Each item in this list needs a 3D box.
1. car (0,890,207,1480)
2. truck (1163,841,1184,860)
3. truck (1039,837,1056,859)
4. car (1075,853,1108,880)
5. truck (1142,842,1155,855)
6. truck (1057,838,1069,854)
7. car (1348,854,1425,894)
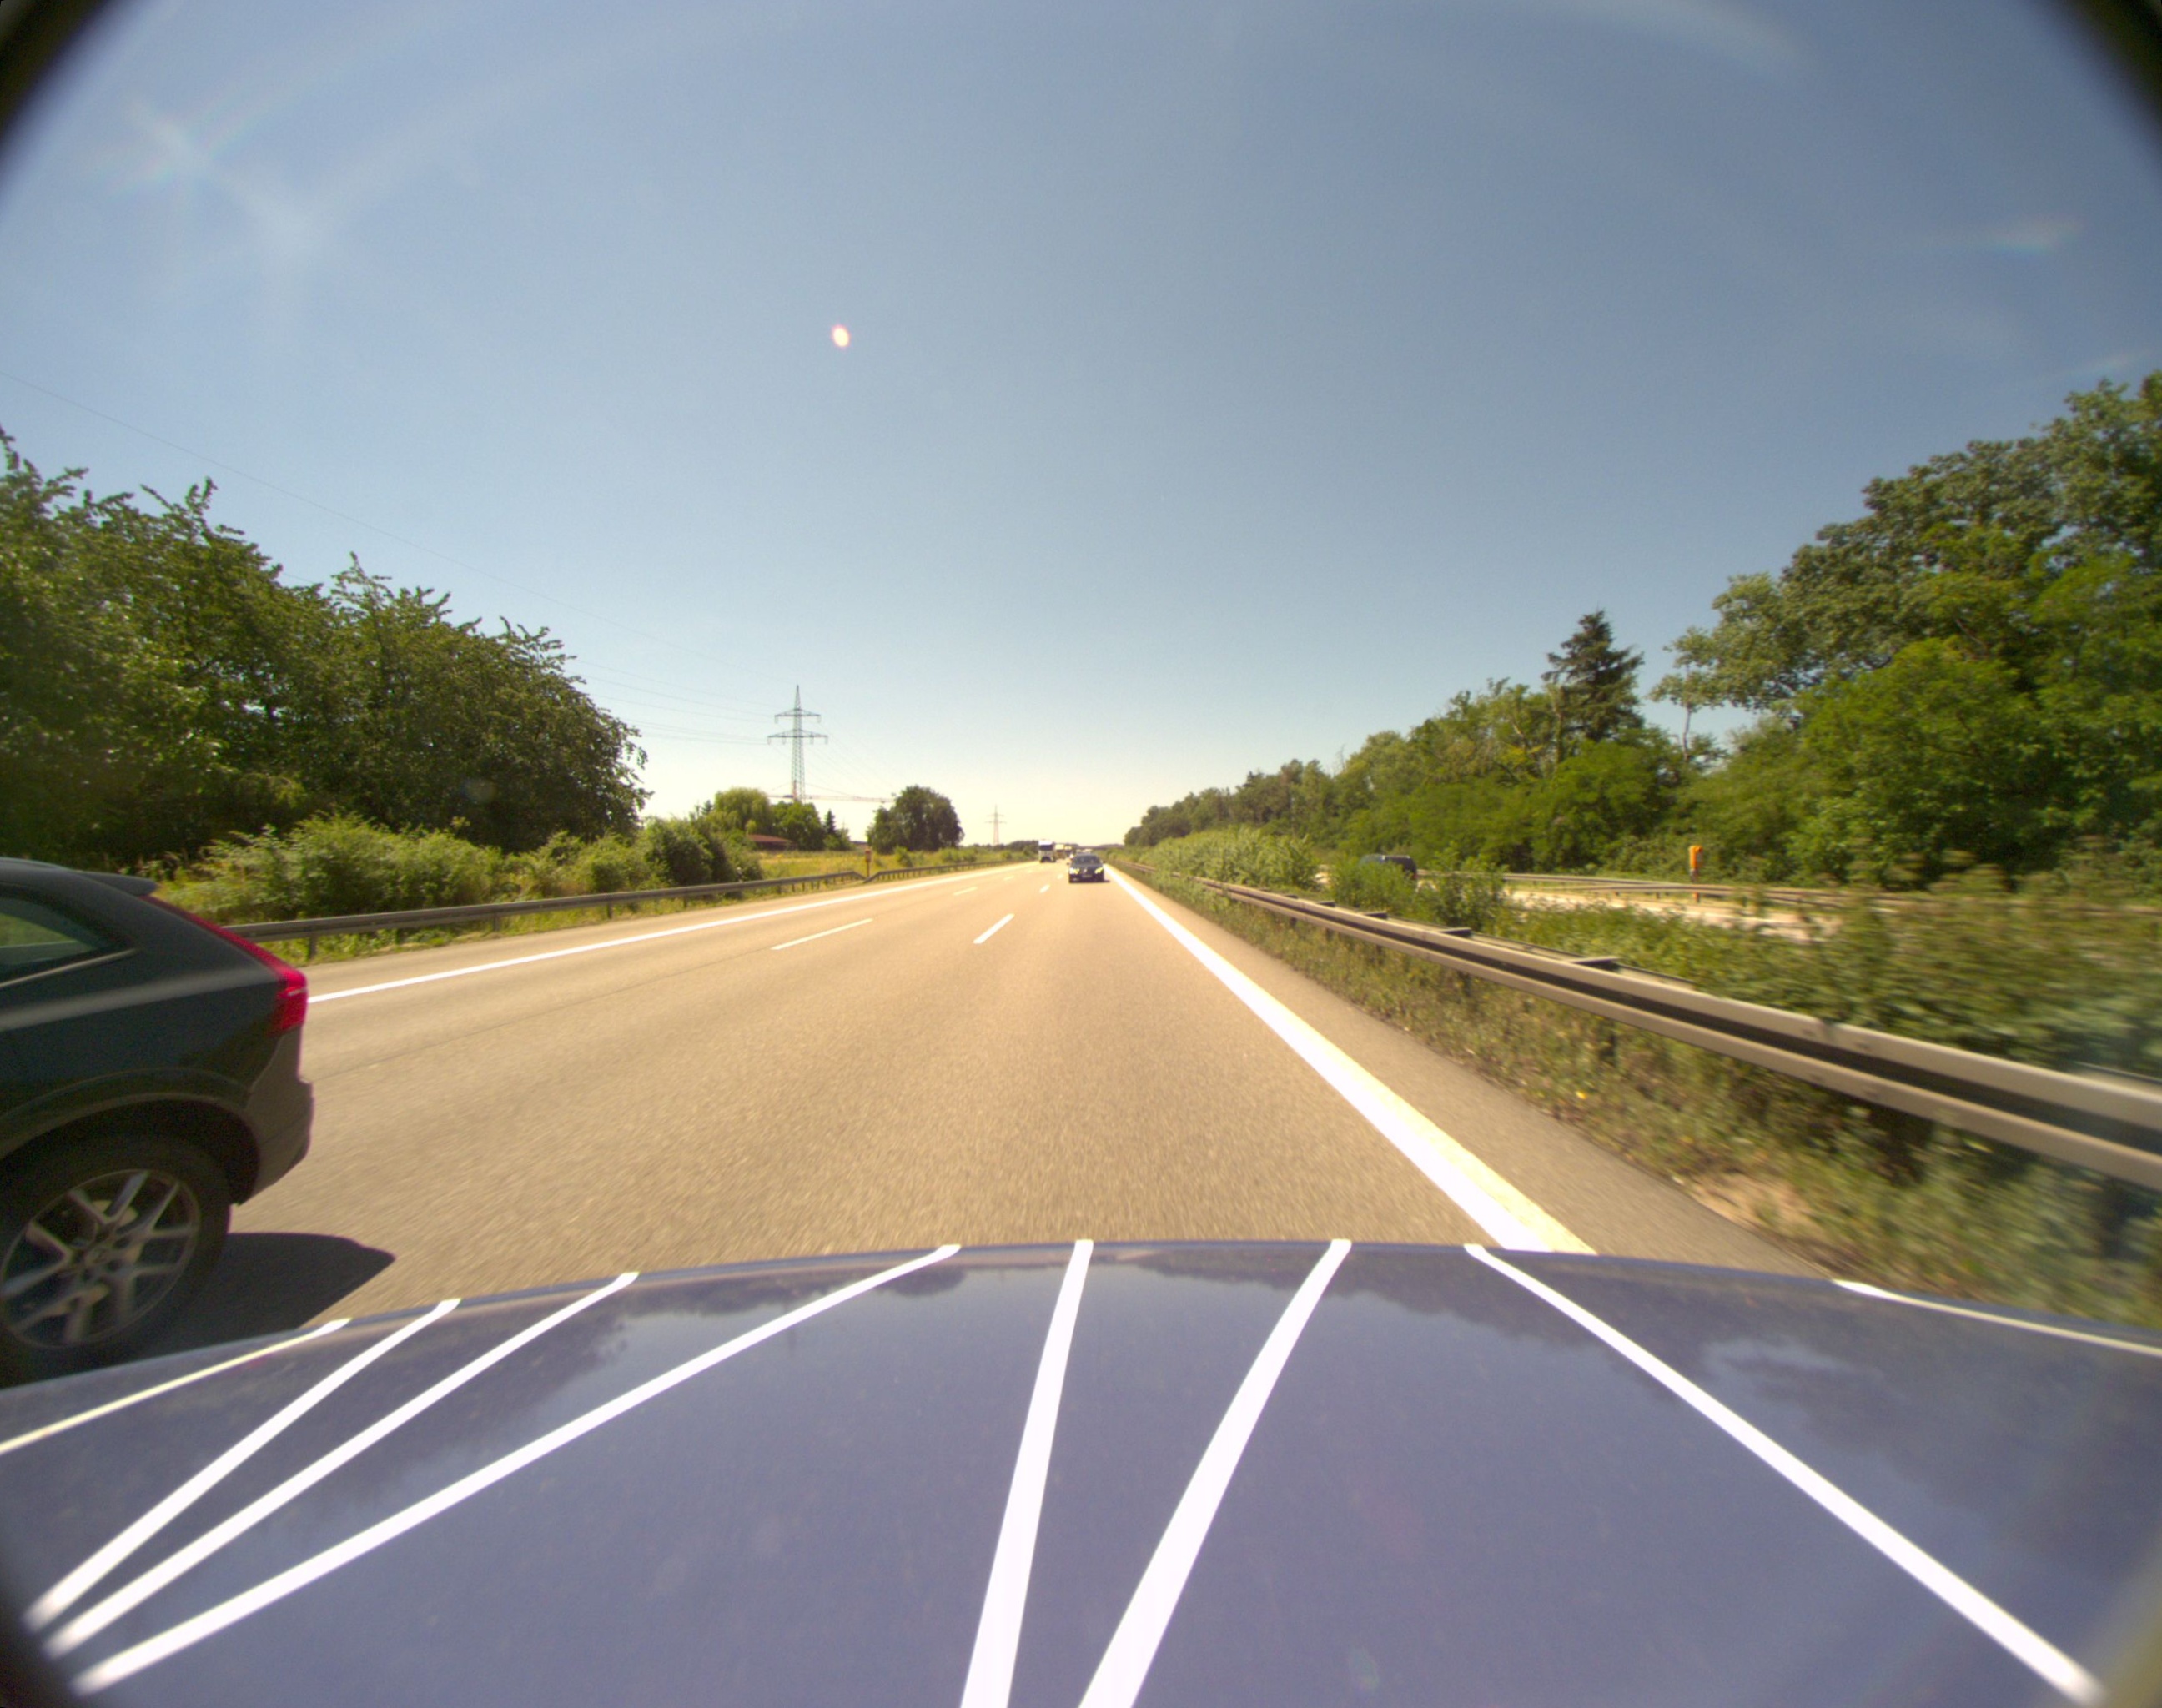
[{"bbox_3d":[-3.967,0.966,0.592,1.878,1.614,4.003,-1,0,0],"label":"car"},{"bbox_3d":[18.725,-0.767,154.533,2.907,3.684,11.898,1,0,1],"label":"truck"},{"bbox_3d":[-5.912,-1.103,135.475,2.573,3.871,5.722,-2,1,0],"label":"truck"},{"bbox_3d":[0.571,0.673,43.755,1.808,1.385,3.999,-2,1,0],"label":"car"},{"bbox_3d":[19.665,-1.496,221.485,2.545,3.613,11.843,1,1,0],"label":"truck"},{"bbox_3d":[-4.944,-2.124,208.422,2.978,4.240,12.609,0,1,0],"label":"truck"},{"bbox_3d":[12.910,0.805,32.362,1.774,1.542,3.775,1,1,1],"label":"car"}]
